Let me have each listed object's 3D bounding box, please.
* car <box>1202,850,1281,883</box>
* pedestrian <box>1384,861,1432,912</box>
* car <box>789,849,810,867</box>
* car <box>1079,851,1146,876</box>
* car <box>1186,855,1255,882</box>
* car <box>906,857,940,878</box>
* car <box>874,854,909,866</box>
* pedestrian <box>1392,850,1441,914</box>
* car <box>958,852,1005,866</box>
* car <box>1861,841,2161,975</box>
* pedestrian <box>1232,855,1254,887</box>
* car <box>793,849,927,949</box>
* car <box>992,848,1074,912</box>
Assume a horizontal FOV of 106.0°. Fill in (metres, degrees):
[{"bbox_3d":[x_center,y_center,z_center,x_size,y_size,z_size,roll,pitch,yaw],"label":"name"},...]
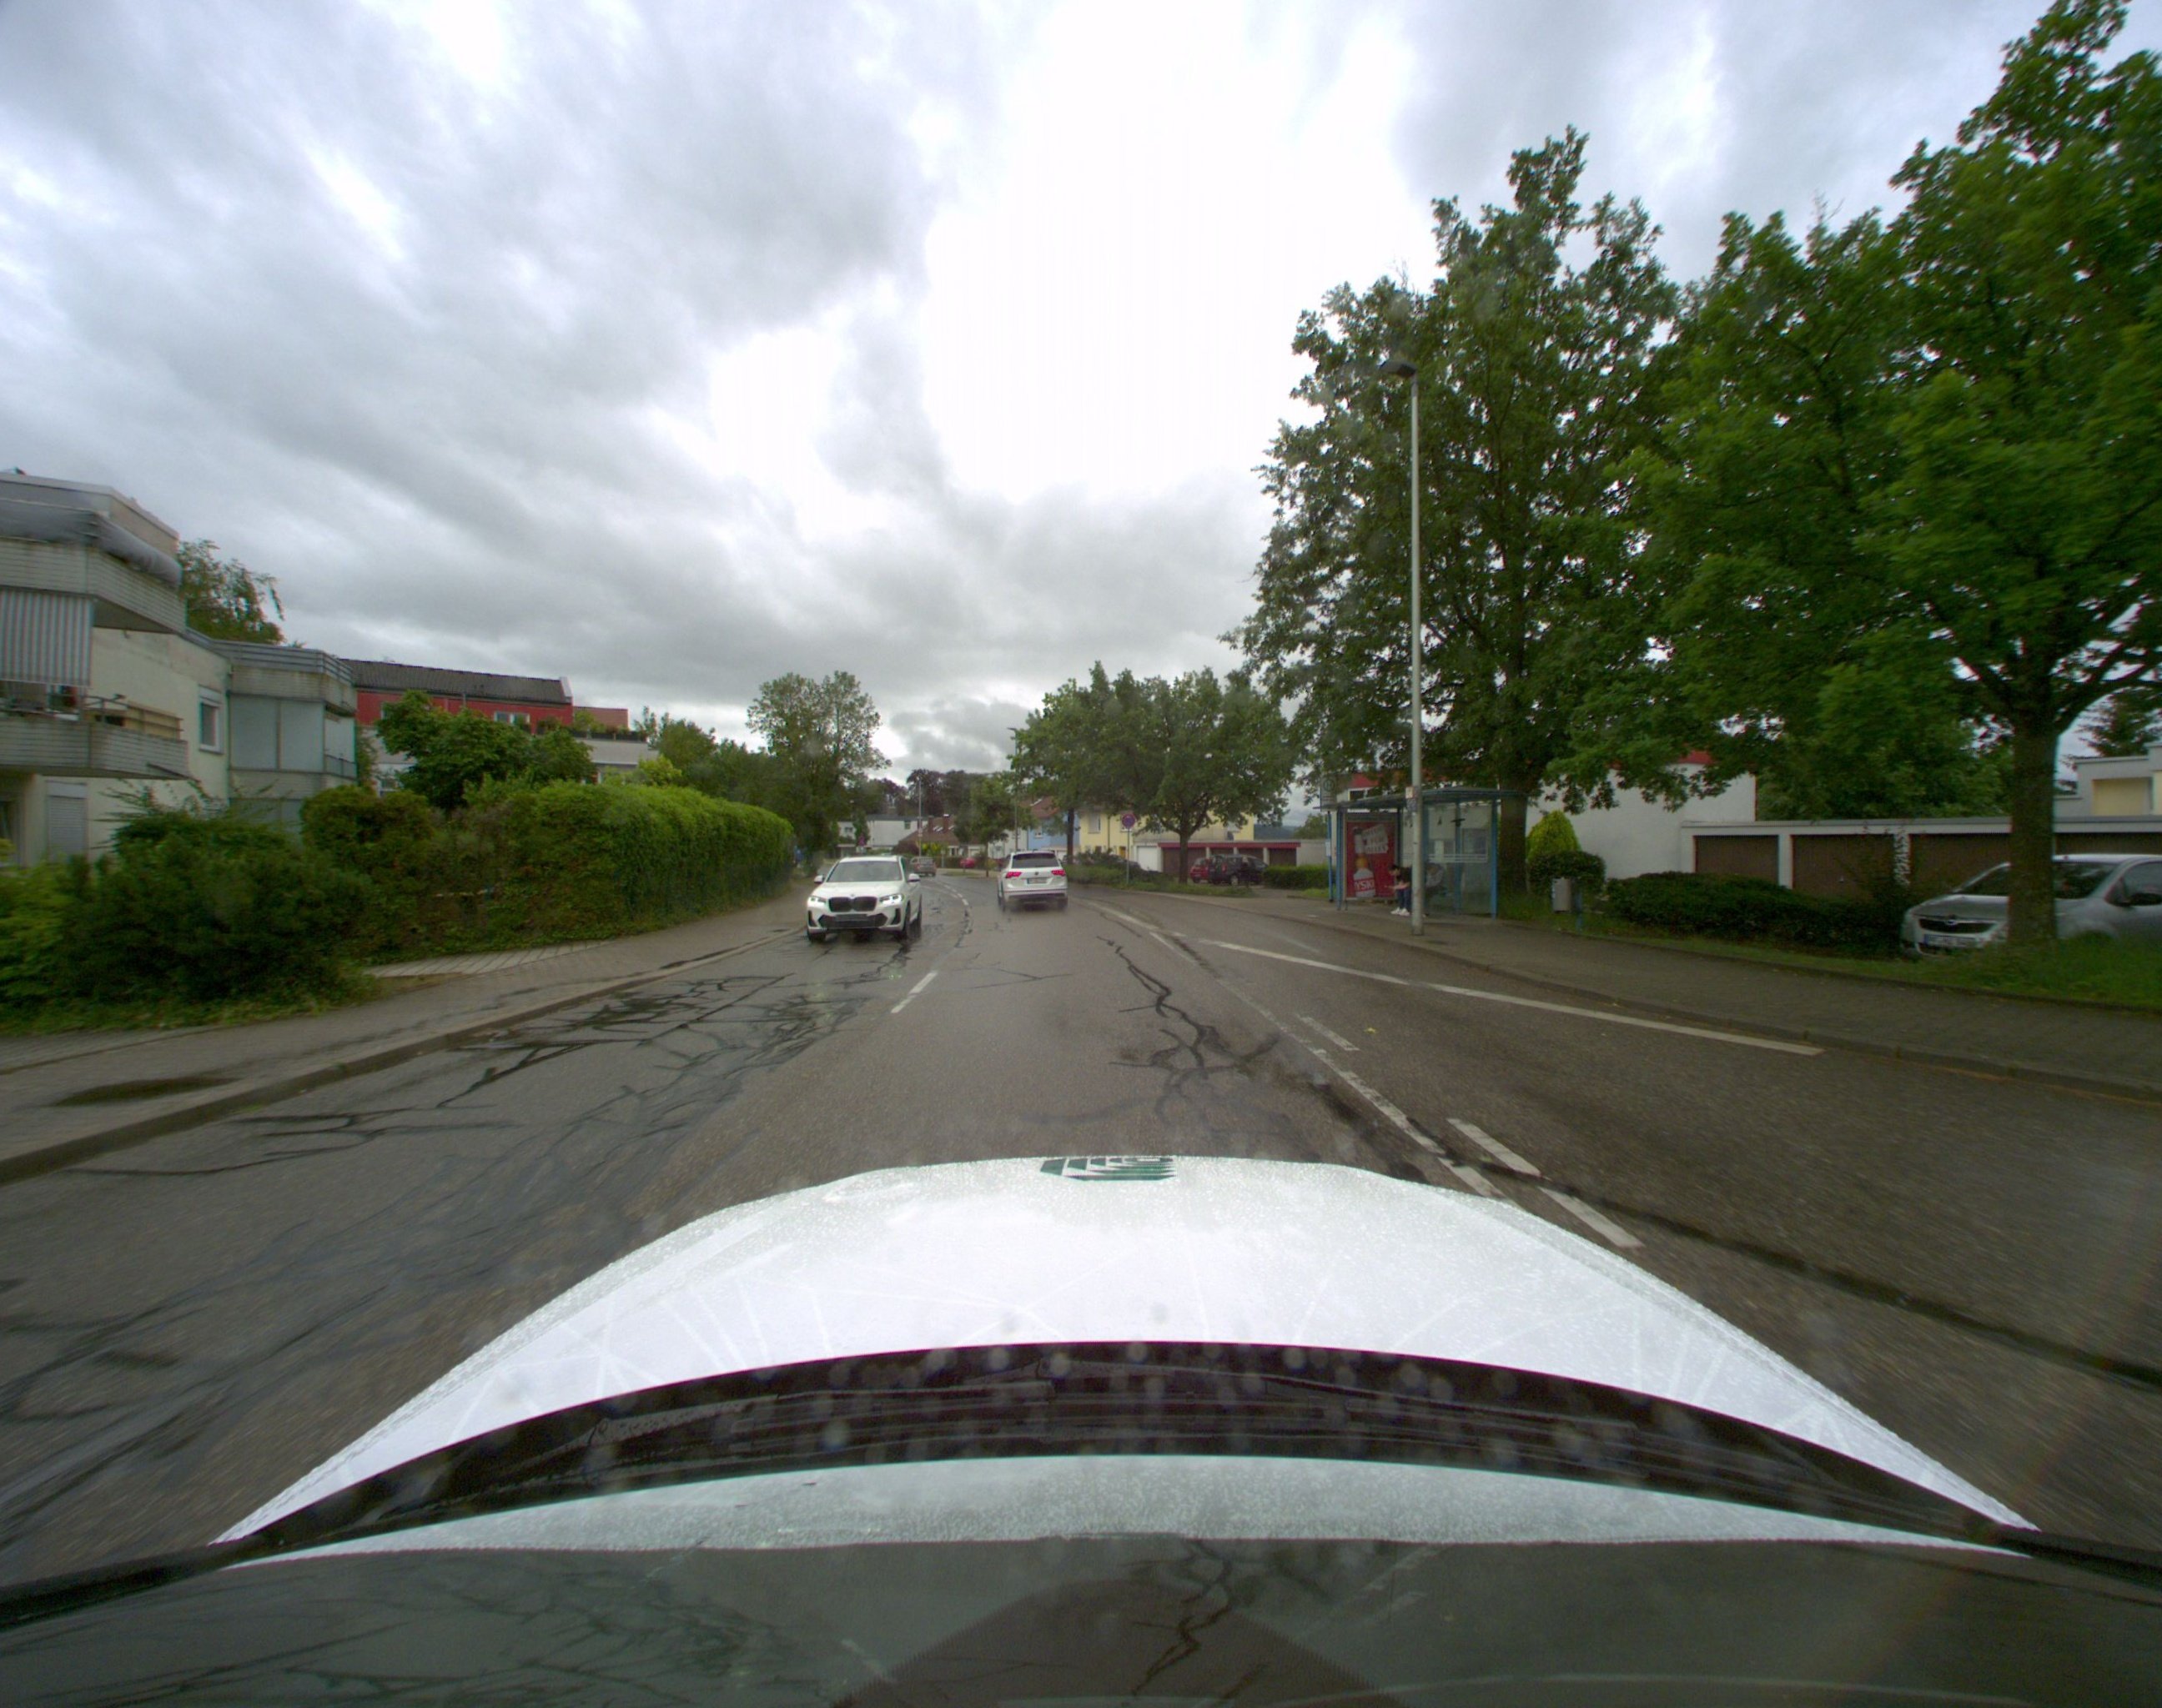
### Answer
[{"bbox_3d":[8.774,0.662,44.375,4.013,1.721,1.905,-1,0,-31],"label":"car"},{"bbox_3d":[6.725,0.658,16.766,0.747,1.011,0.551,0,0,-4],"label":"pedestrian"},{"bbox_3d":[-43.520,0.562,126.019,2.006,2.586,5.580,-3,2,-30],"label":"car"},{"bbox_3d":[2.207,0.635,56.634,4.204,1.671,1.973,-1,0,-29],"label":"car"},{"bbox_3d":[8.067,0.804,46.994,3.716,1.442,1.690,-1,0,-31],"label":"car"},{"bbox_3d":[-11.886,0.980,61.197,1.776,1.551,3.971,0,0,-22],"label":"car"},{"bbox_3d":[-24.299,0.787,104.220,4.013,1.442,1.829,-1,0,-31],"label":"car"},{"bbox_3d":[6.630,0.543,16.088,0.725,1.250,0.551,0,0,-4],"label":"pedestrian"},{"bbox_3d":[-9.652,0.481,79.237,4.339,1.260,1.660,1,0,-40],"label":"car"},{"bbox_3d":[12.284,0.595,10.169,3.641,1.486,1.756,0,0,-6],"label":"car"},{"bbox_3d":[8.077,0.852,40.687,0.669,1.558,0.833,0,0,-35],"label":"pedestrian"},{"bbox_3d":[-4.352,0.771,16.819,1.888,1.611,4.855,-2,2,-6],"label":"car"},{"bbox_3d":[-1.488,0.692,23.799,1.866,1.650,3.985,-2,0,-11],"label":"car"}]
